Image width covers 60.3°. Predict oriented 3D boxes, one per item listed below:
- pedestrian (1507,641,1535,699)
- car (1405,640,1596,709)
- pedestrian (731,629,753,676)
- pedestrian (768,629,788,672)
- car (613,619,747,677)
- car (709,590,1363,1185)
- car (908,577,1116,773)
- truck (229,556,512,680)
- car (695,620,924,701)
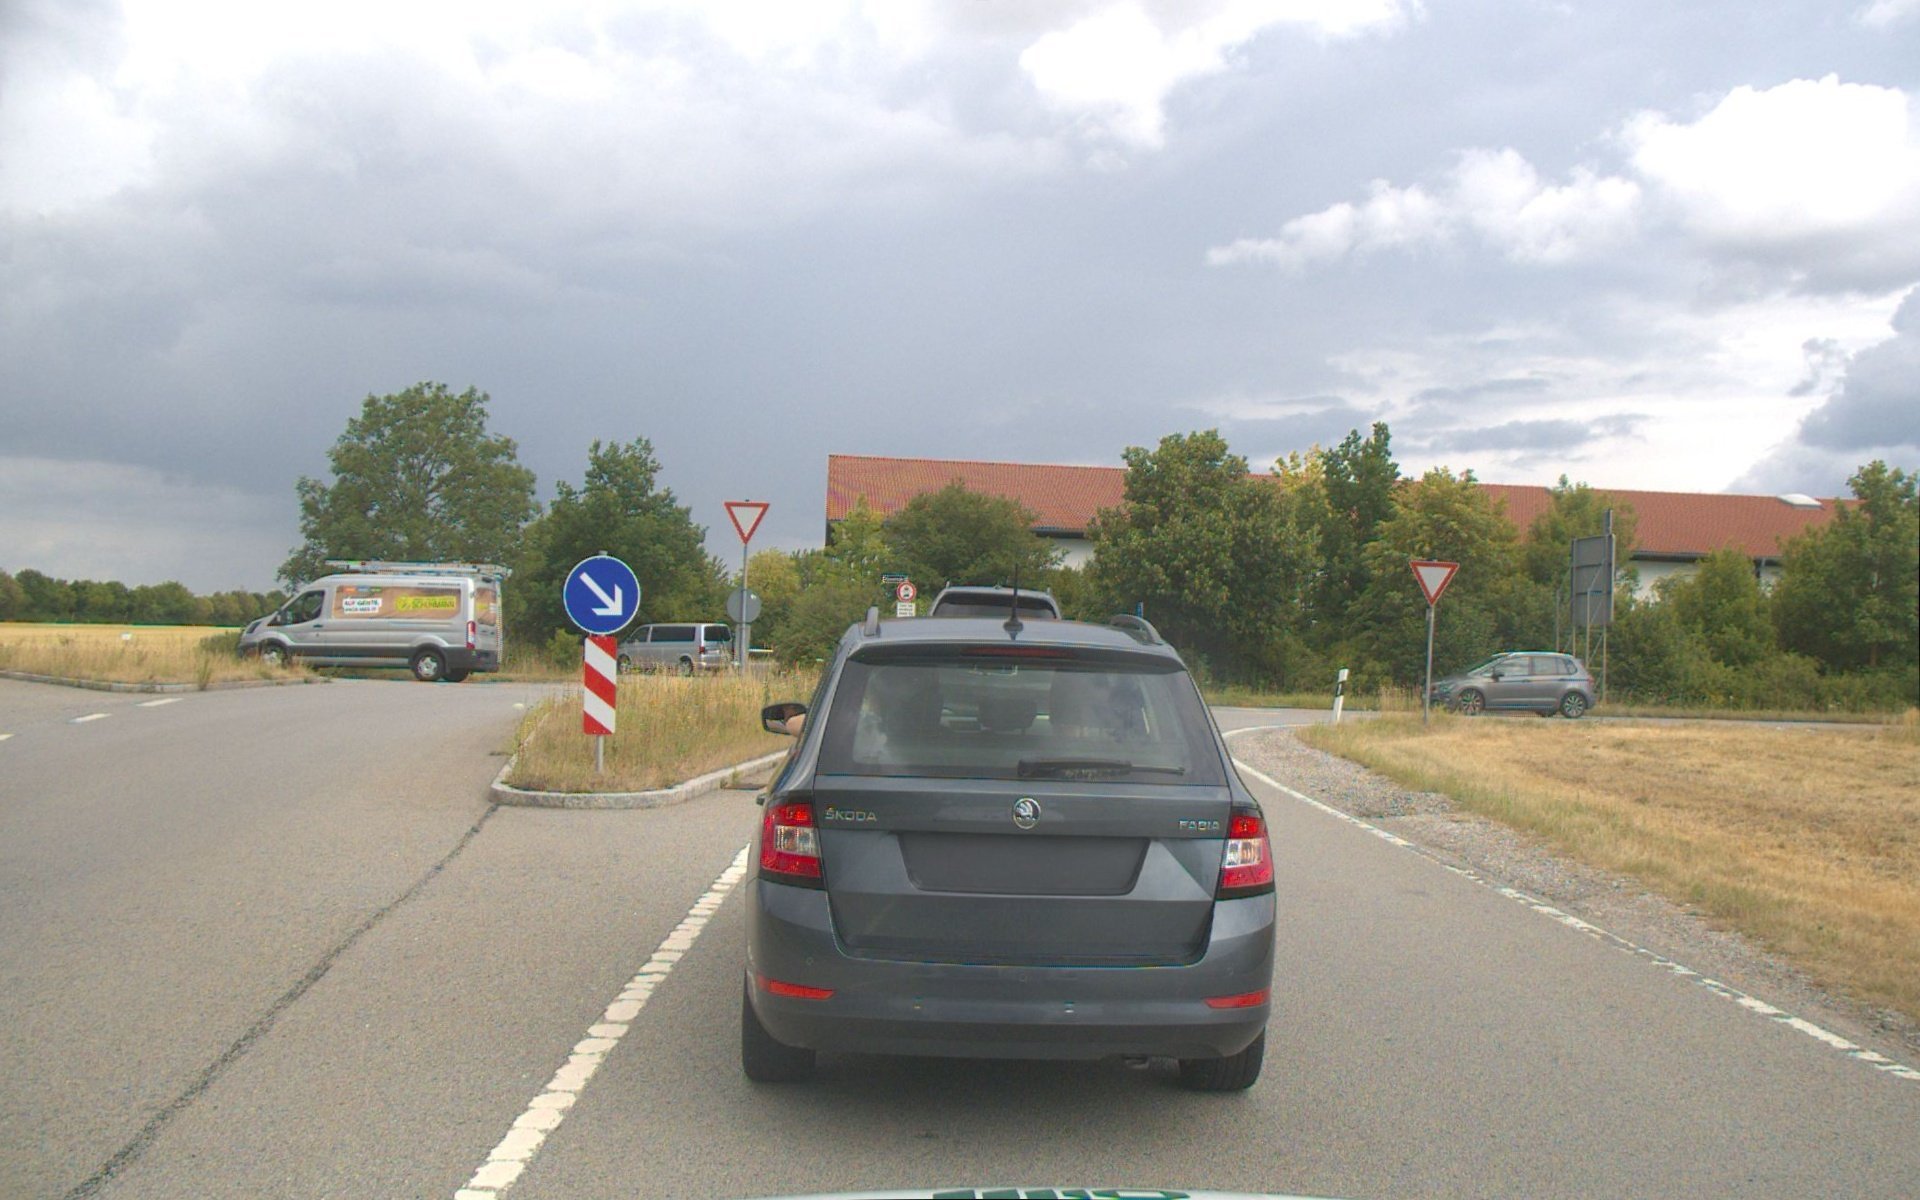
[{"bbox_3d":[16.959,2.115,49.987,0.614,1.712,0.529,1,-1,-10],"label":"pedestrian"},{"bbox_3d":[13.488,1.855,41.443,4.126,1.629,1.999,0,-1,-3],"label":"car"},{"bbox_3d":[-8.322,2.004,63.158,0.519,1.756,0.640,1,-1,33],"label":"pedestrian"},{"bbox_3d":[-7.345,2.031,66.710,0.571,1.712,0.566,1,-1,21],"label":"pedestrian"},{"bbox_3d":[-10.741,1.800,63.372,4.814,2.049,2.334,1,0,35],"label":"car"},{"bbox_3d":[0.172,0.749,6.065,1.642,1.488,3.707,1,-1,-1],"label":"car"},{"bbox_3d":[0.464,0.793,18.188,1.953,1.806,4.642,2,-2,-1],"label":"car"},{"bbox_3d":[-13.849,0.413,39.096,5.900,2.750,2.066,1,0,1],"label":"truck"},{"bbox_3d":[-2.907,1.114,31.524,4.267,1.368,1.676,1,-1,35],"label":"car"}]
